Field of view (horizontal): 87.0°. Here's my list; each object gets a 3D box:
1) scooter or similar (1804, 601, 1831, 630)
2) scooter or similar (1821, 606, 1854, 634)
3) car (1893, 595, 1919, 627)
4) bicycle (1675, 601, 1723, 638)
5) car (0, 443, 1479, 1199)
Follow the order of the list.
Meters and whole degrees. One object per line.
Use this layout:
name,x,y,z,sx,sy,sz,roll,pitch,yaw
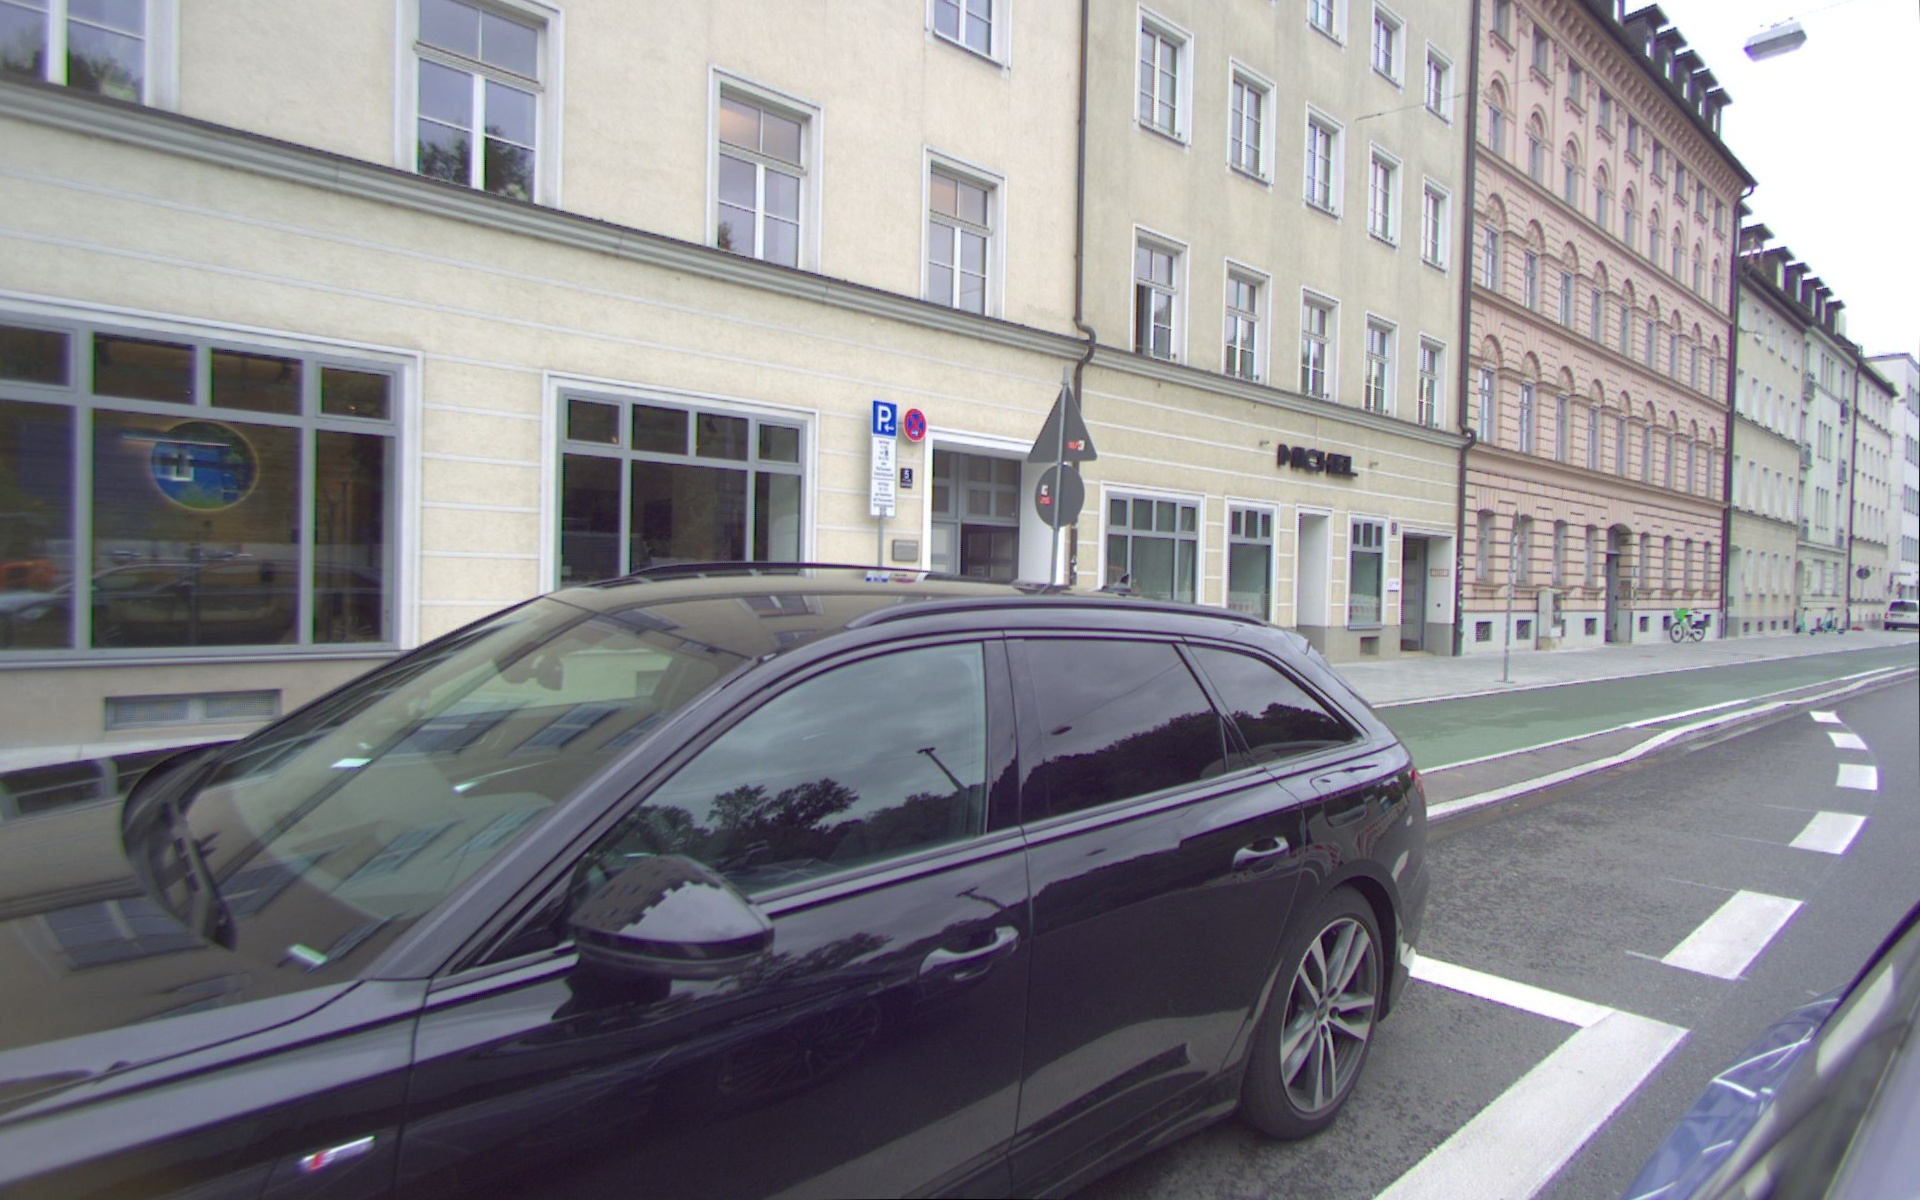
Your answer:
scooter or similar,38.352,0.679,45.266,1.096,1.246,0.248,2,2,-14
scooter or similar,41.892,0.951,48.321,1.105,1.246,0.246,3,2,18
car,55.847,0.652,58.871,4.356,1.771,1.737,1,2,-40
bicycle,24.421,0.652,33.438,1.695,1.188,0.428,1,1,-23
car,-0.669,0.581,2.307,4.607,1.498,1.804,0,2,-43
